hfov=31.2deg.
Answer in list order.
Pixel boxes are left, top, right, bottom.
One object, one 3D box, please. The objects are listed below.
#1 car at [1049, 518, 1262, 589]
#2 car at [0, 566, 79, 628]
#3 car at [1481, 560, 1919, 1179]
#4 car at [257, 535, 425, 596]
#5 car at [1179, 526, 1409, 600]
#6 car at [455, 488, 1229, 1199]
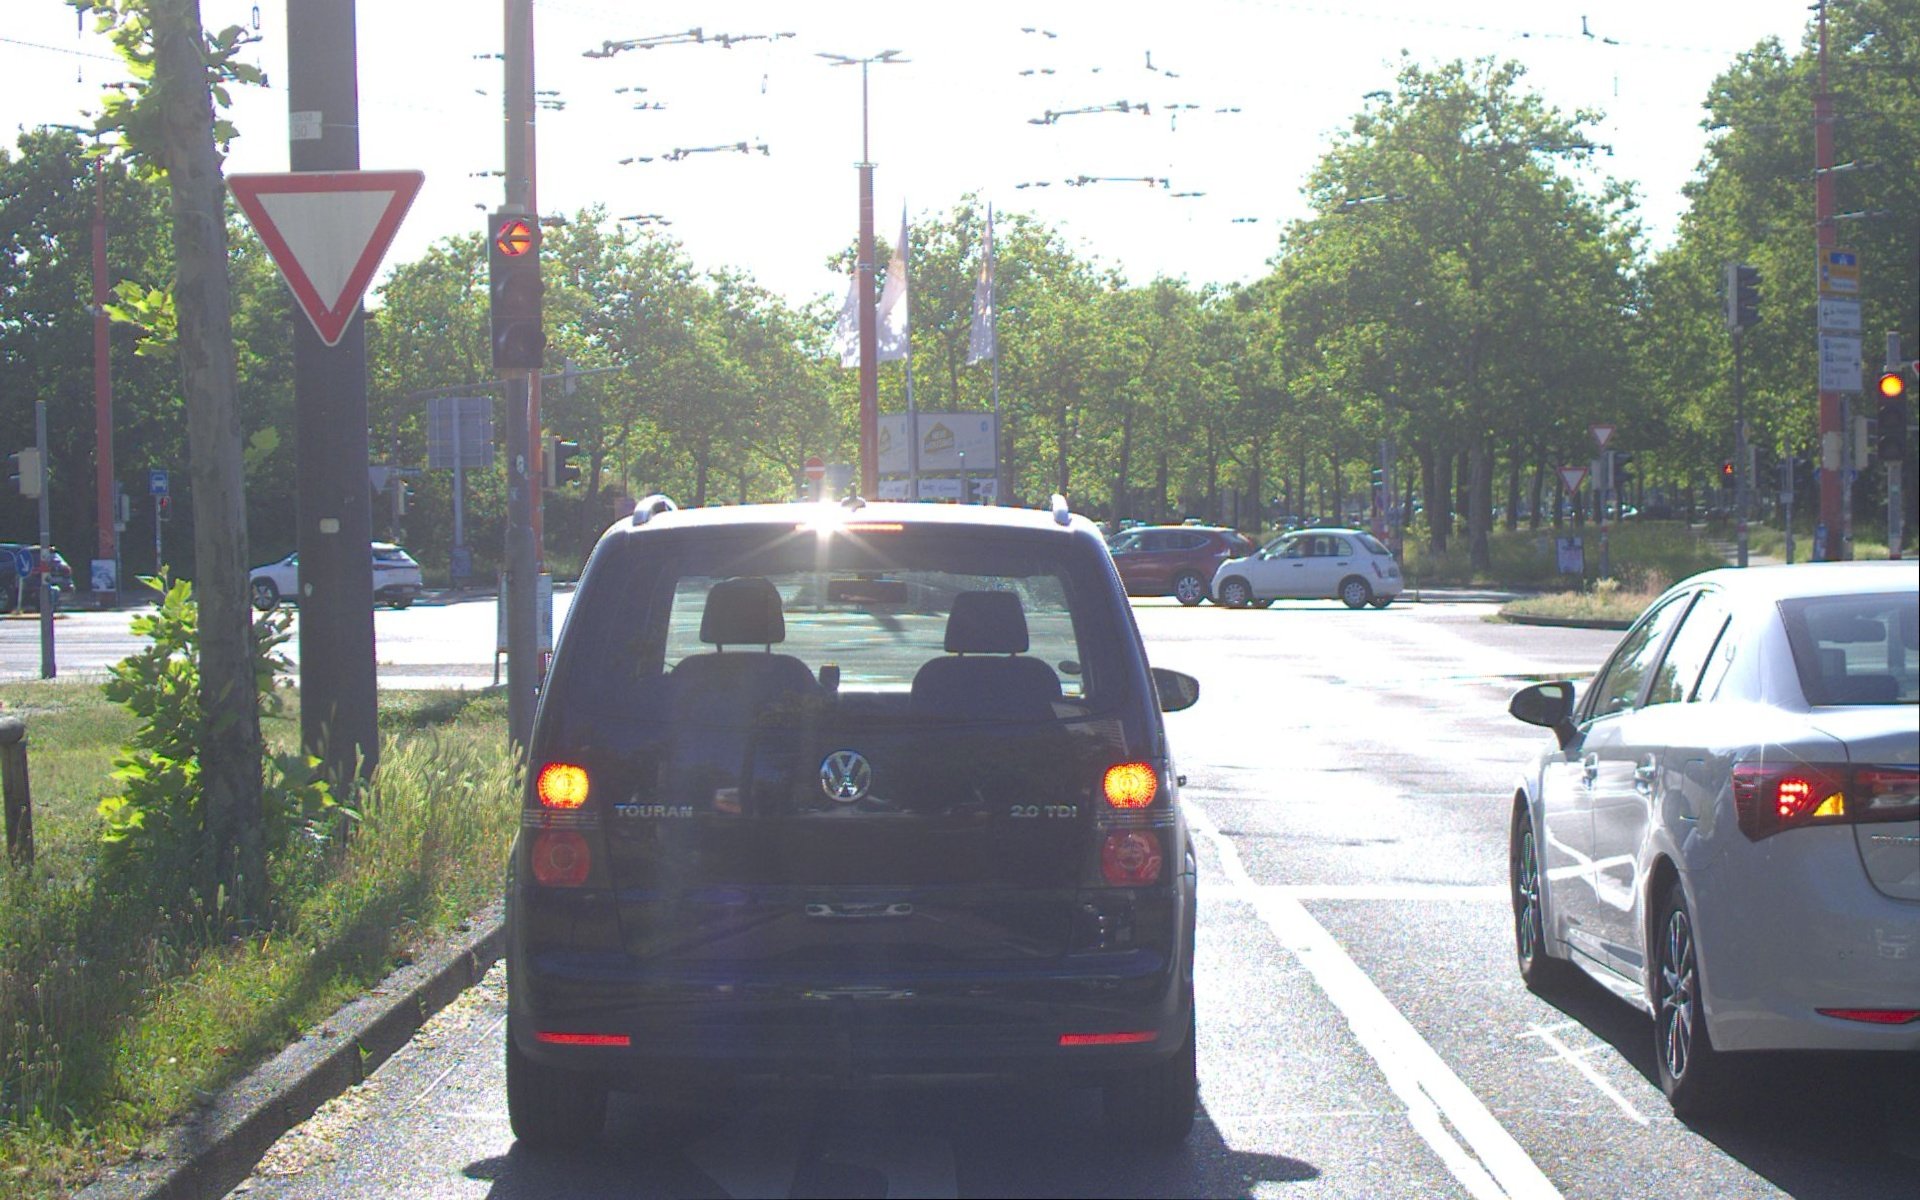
[{"bbox_3d":[4.084,-0.986,71.864,4.124,1.466,1.654,1,1,26],"label":"car"},{"bbox_3d":[-22.995,-0.087,81.144,4.124,1.398,1.655,1,1,23],"label":"car"},{"bbox_3d":[2.760,0.616,10.149,1.799,1.435,4.326,1,1,1],"label":"car"},{"bbox_3d":[-14.622,-0.819,81.185,3.799,1.398,1.653,1,1,33],"label":"car"},{"bbox_3d":[6.456,-0.730,66.572,4.125,1.398,1.654,1,1,27],"label":"car"},{"bbox_3d":[-0.251,0.535,9.971,1.738,1.597,4.326,1,1,1],"label":"car"}]
